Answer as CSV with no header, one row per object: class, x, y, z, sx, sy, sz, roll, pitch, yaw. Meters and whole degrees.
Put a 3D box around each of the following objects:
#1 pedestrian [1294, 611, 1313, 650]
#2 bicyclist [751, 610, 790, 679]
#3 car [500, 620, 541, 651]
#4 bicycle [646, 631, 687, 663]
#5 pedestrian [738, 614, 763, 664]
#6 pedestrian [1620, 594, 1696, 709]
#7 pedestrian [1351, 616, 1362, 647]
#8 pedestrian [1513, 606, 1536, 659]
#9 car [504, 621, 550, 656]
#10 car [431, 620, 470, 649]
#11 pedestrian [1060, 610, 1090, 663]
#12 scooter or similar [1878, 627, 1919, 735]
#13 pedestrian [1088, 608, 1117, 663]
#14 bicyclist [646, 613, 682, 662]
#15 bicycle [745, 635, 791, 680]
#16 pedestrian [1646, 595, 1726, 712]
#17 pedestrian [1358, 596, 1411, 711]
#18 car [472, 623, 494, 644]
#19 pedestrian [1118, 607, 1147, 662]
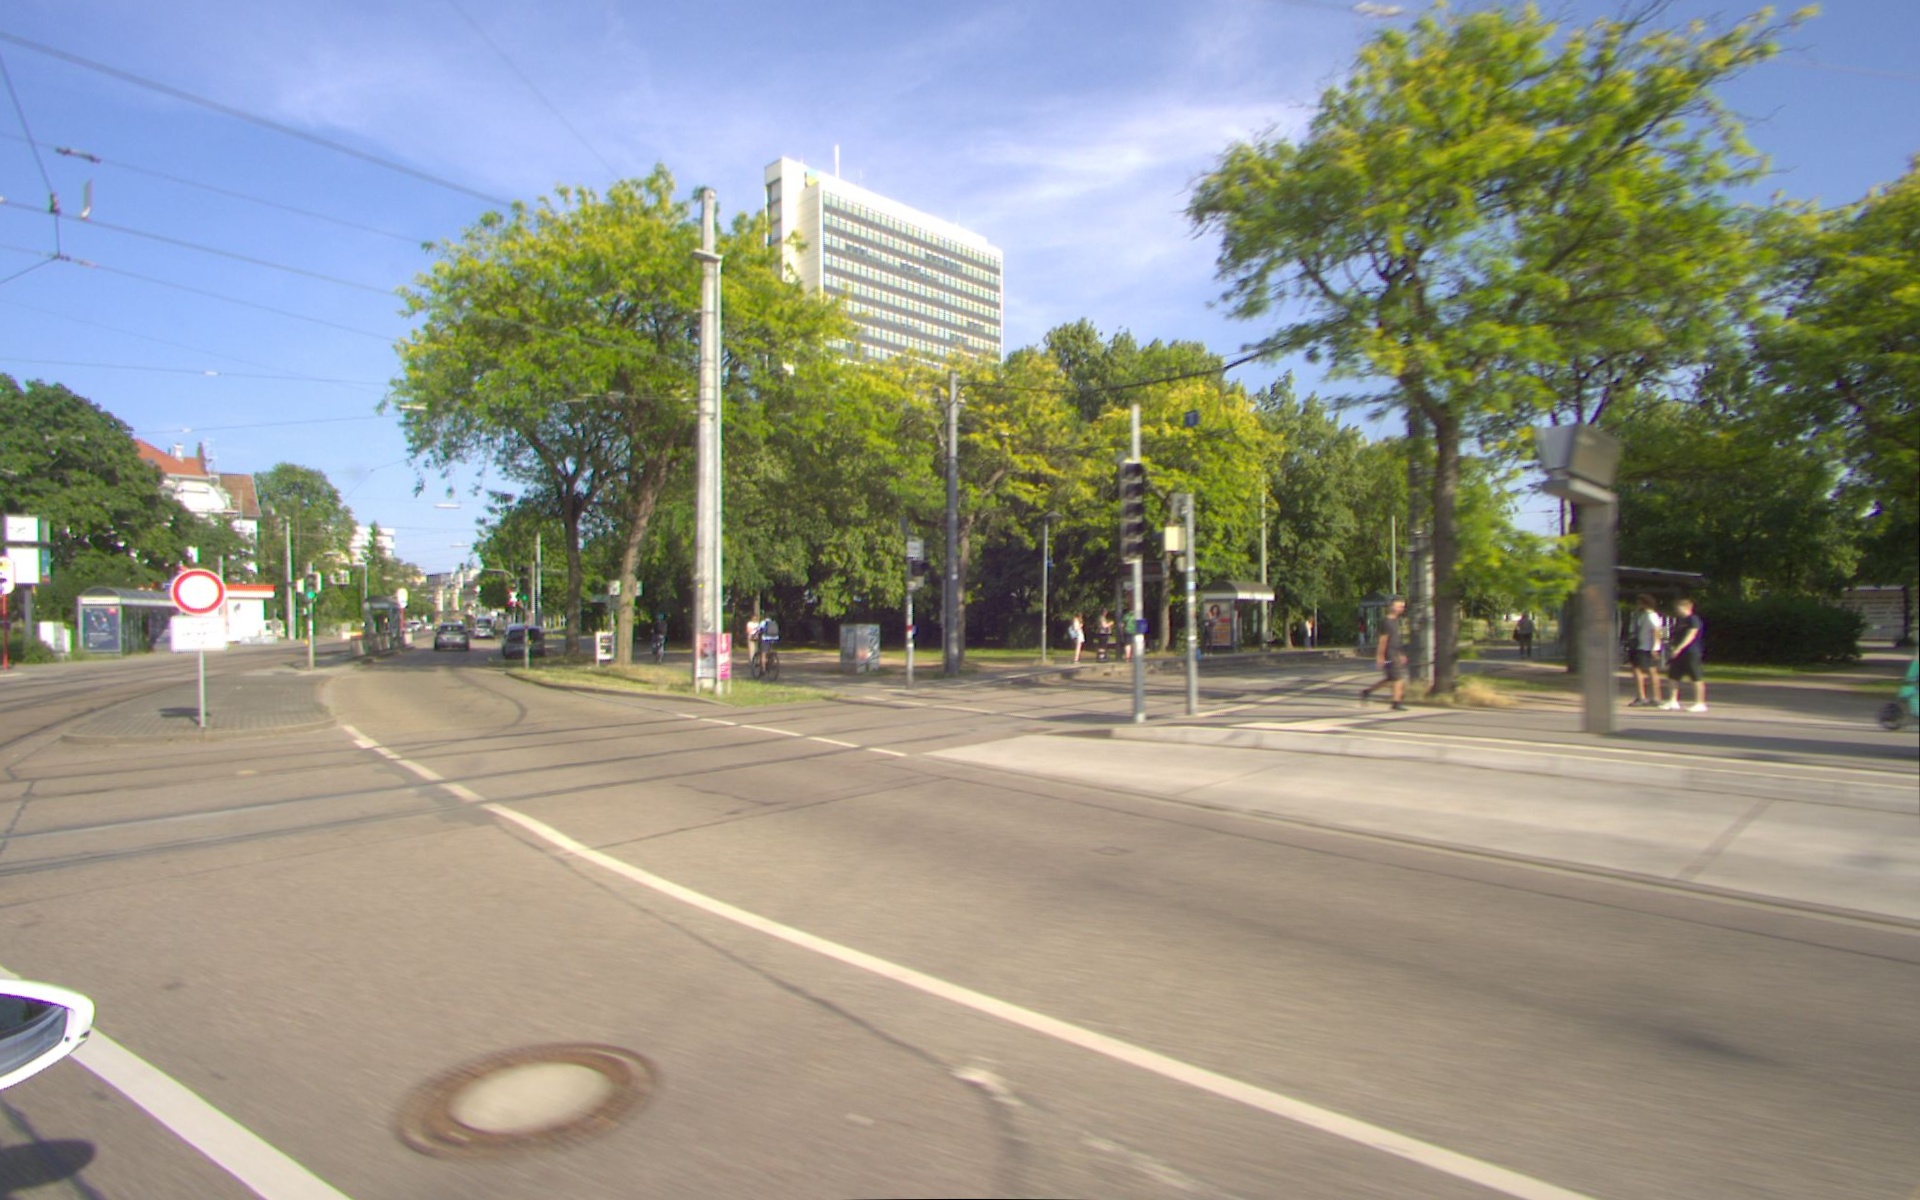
pedestrian,16.373,1.458,47.705,0.665,1.822,0.606,3,-3,-37
bicyclist,-5.074,1.175,26.753,0.641,1.769,1.134,-3,2,-28
car,-23.258,1.840,53.134,1.829,1.535,3.988,-1,0,-22
bicycle,-10.761,1.715,36.680,1.715,1.102,0.637,-1,1,43
pedestrian,-7.083,1.305,33.858,0.635,1.687,0.686,0,0,-35
pedestrian,12.010,0.878,17.247,0.863,1.921,0.673,1,-2,12
pedestrian,21.882,1.722,55.212,0.478,1.687,0.412,0,0,37
pedestrian,20.359,1.190,36.117,0.599,1.891,0.458,-1,-3,42
car,-20.676,1.800,47.943,1.828,1.535,3.990,-1,0,-21
car,-30.322,2.048,59.651,1.812,1.620,3.803,2,-3,-24
pedestrian,3.616,1.131,31.491,0.682,1.631,0.638,0,0,39
scooter or similar,11.443,0.936,11.605,1.117,1.248,0.351,0,0,25
pedestrian,4.436,1.098,31.131,0.682,1.687,0.638,0,0,39
bicyclist,-10.870,1.365,36.745,1.128,1.769,0.715,-1,2,43
bicycle,-5.190,1.525,27.027,0.633,1.102,1.931,-2,1,-28
pedestrian,11.523,0.850,15.921,0.864,1.799,0.672,1,-2,20
pedestrian,6.809,0.852,16.056,0.574,1.799,0.582,3,-3,-43
car,-49.613,3.531,104.219,1.969,2.038,3.988,2,-4,-24
pedestrian,5.337,1.055,30.977,0.682,1.687,0.638,0,0,39
